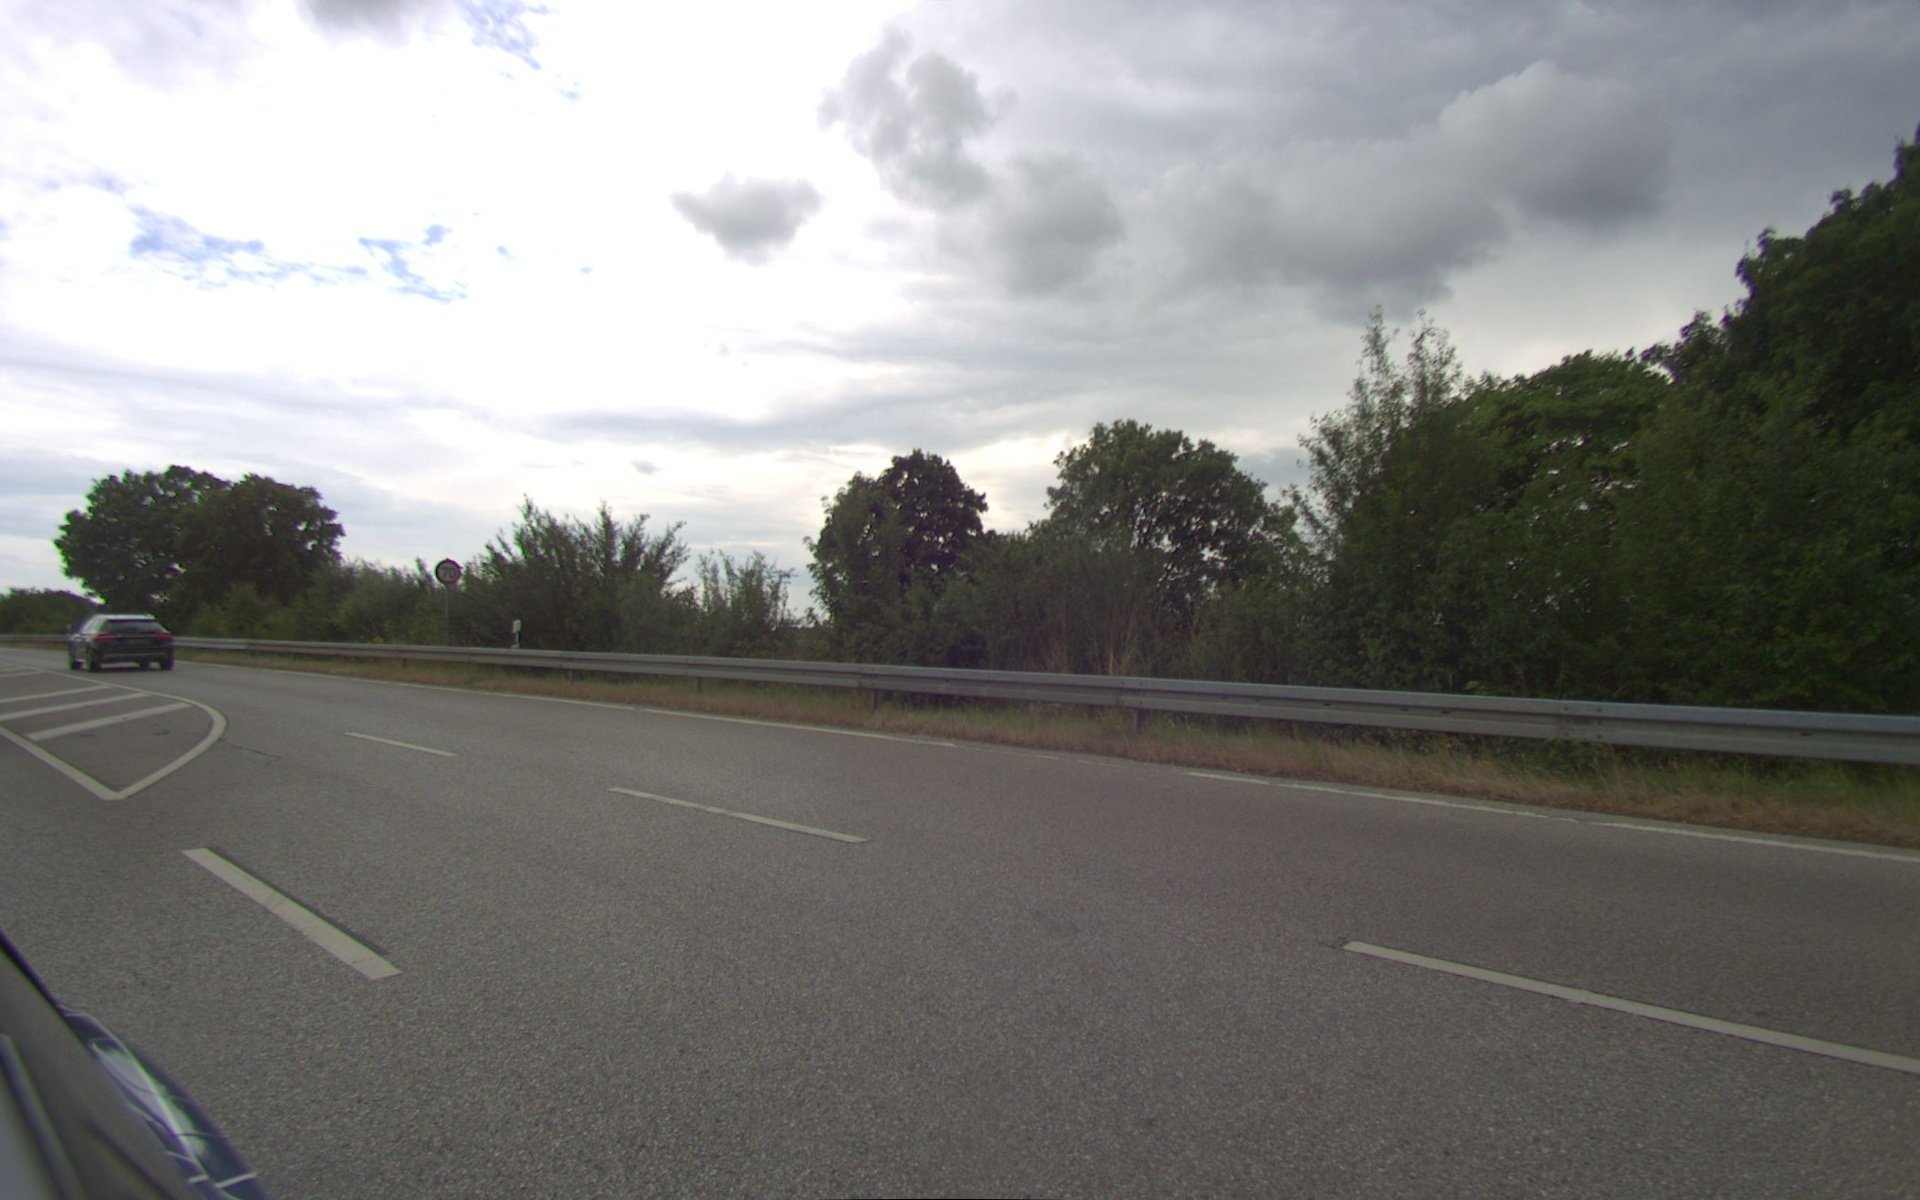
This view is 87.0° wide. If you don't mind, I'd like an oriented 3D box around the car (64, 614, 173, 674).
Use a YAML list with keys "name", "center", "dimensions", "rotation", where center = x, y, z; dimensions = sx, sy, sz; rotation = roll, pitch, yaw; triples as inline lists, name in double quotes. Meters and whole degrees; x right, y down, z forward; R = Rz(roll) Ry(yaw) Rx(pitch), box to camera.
- name: "car"
  center: [-23.126, 1.152, 27.781]
  dimensions: [3.998, 1.534, 1.693]
  rotation: [-1, -1, 41]
